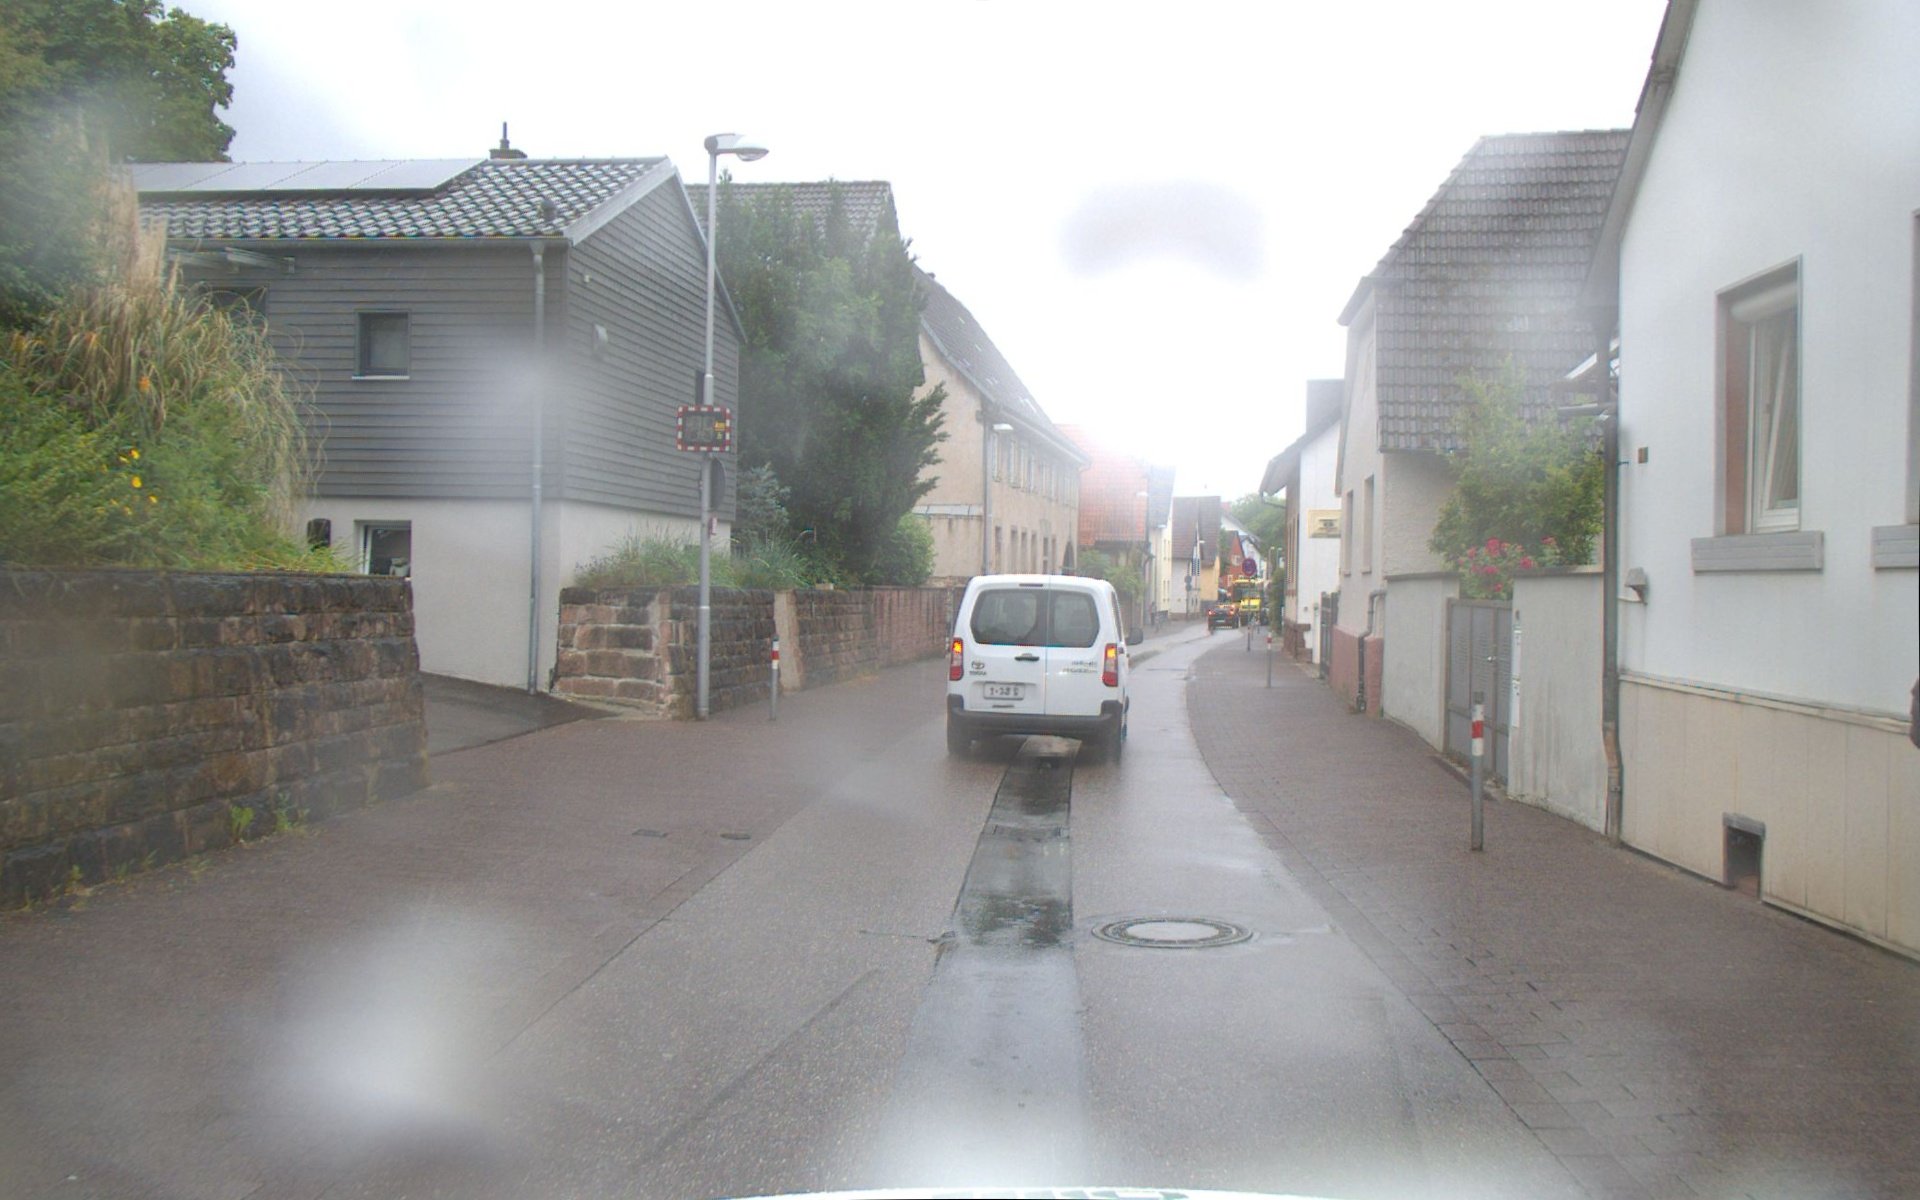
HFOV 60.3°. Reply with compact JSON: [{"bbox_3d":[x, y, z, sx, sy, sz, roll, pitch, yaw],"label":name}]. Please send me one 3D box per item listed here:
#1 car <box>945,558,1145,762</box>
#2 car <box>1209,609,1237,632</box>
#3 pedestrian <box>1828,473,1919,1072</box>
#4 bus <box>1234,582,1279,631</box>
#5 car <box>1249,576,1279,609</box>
[{"bbox_3d":[1.024,0.590,17.729,1.757,1.850,4.104,2,-1,7],"label":"car"},{"bbox_3d":[16.728,1.312,105.148,1.528,1.395,3.587,2,0,12],"label":"car"},{"bbox_3d":[3.176,0.510,5.010,0.680,1.763,0.821,0,0,2],"label":"pedestrian"},{"bbox_3d":[21.130,0.480,117.557,2.734,3.235,8.184,3,0,12],"label":"bus"},{"bbox_3d":[20.270,-0.508,110.255,1.788,2.049,3.697,2,0,12],"label":"car"}]
